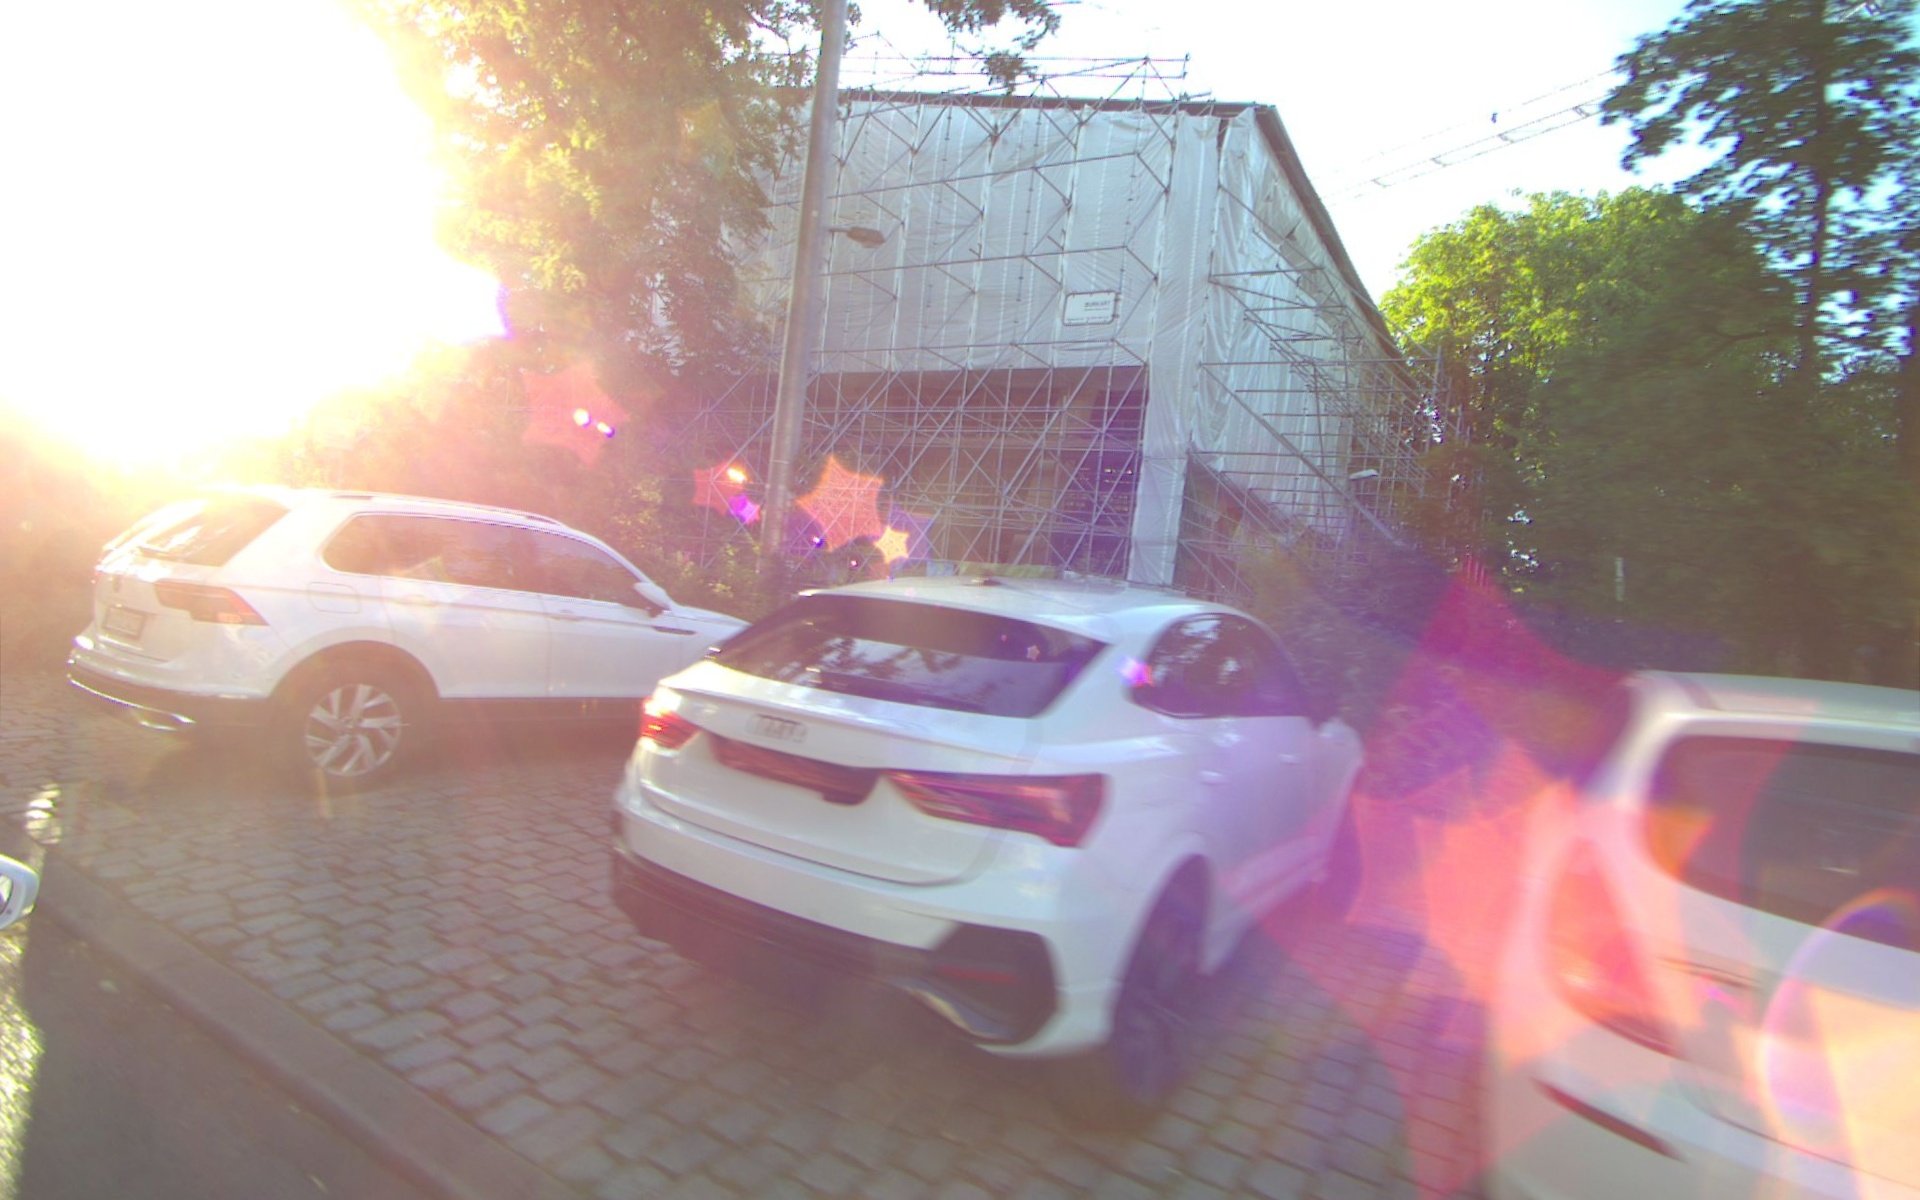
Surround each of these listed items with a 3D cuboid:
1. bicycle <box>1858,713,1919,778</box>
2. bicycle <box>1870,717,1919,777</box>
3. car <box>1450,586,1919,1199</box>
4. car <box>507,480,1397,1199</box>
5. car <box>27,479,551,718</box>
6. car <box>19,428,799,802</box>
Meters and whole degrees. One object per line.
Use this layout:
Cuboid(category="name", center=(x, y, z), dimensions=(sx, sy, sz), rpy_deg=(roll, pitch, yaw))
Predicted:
Cuboid(category="bicycle", center=(19.794, 3.054, 20.279), dimensions=(2.348, 1.153, 0.647), rpy_deg=(7, 1, 33))
Cuboid(category="bicycle", center=(19.395, 3.003, 19.552), dimensions=(2.348, 1.058, 0.647), rpy_deg=(7, 1, 33))
Cuboid(category="car", center=(2.692, 0.990, 3.077), dimensions=(1.788, 1.585, 3.594), rpy_deg=(7, -1, 31))
Cuboid(category="car", center=(0.539, 0.733, 4.273), dimensions=(1.694, 1.687, 4.128), rpy_deg=(7, -1, 32))
Cuboid(category="car", center=(-5.402, 0.054, 8.533), dimensions=(1.655, 1.511, 3.201), rpy_deg=(7, -1, 24))
Cuboid(category="car", center=(-3.315, 0.162, 6.861), dimensions=(1.838, 1.730, 4.172), rpy_deg=(7, -1, 36))
